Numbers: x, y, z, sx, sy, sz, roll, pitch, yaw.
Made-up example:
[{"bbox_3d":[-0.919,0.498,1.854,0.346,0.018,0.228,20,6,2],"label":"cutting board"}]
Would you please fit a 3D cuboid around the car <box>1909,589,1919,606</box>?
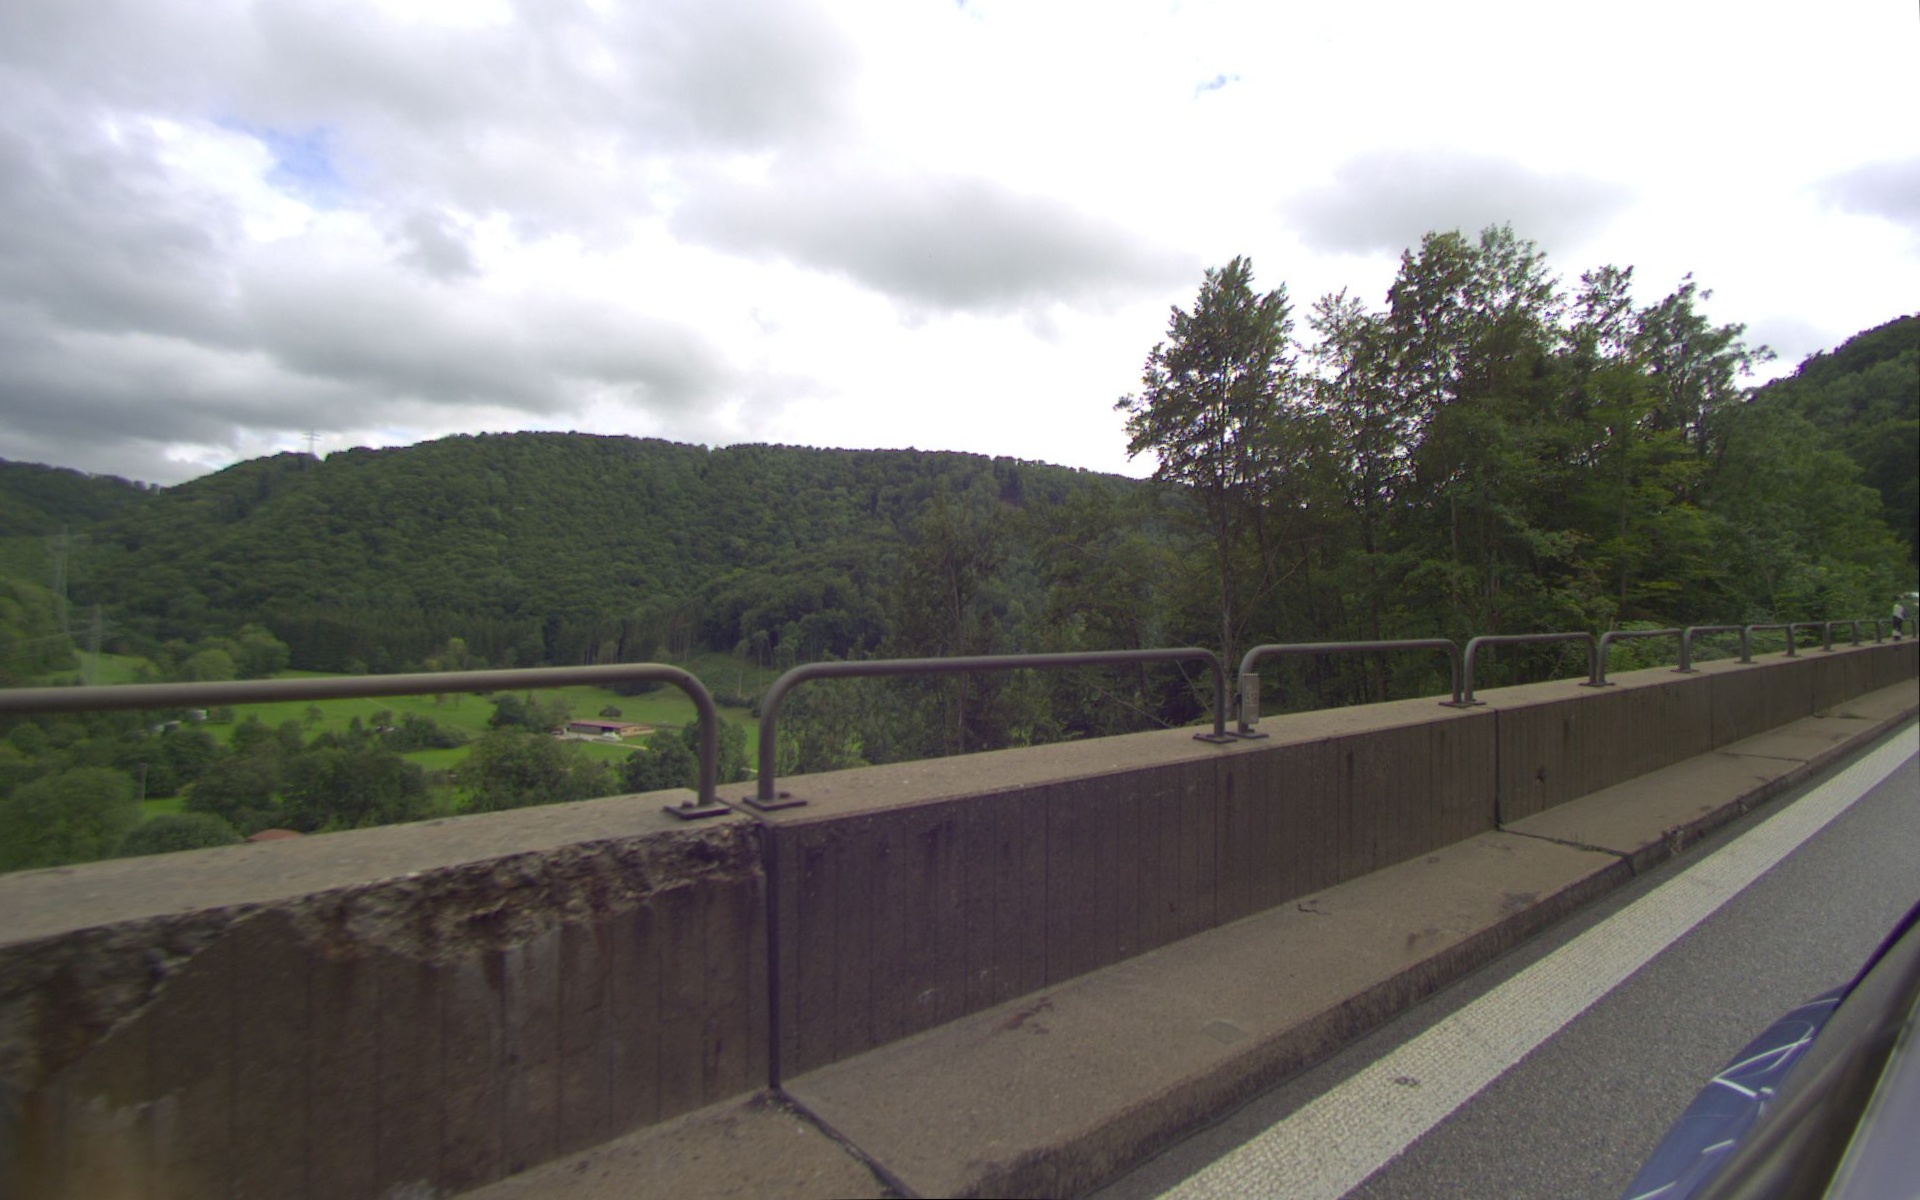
[{"bbox_3d":[114.362,-0.324,119.237,1.971,2.039,3.980,-3,-1,15],"label":"car"}]
